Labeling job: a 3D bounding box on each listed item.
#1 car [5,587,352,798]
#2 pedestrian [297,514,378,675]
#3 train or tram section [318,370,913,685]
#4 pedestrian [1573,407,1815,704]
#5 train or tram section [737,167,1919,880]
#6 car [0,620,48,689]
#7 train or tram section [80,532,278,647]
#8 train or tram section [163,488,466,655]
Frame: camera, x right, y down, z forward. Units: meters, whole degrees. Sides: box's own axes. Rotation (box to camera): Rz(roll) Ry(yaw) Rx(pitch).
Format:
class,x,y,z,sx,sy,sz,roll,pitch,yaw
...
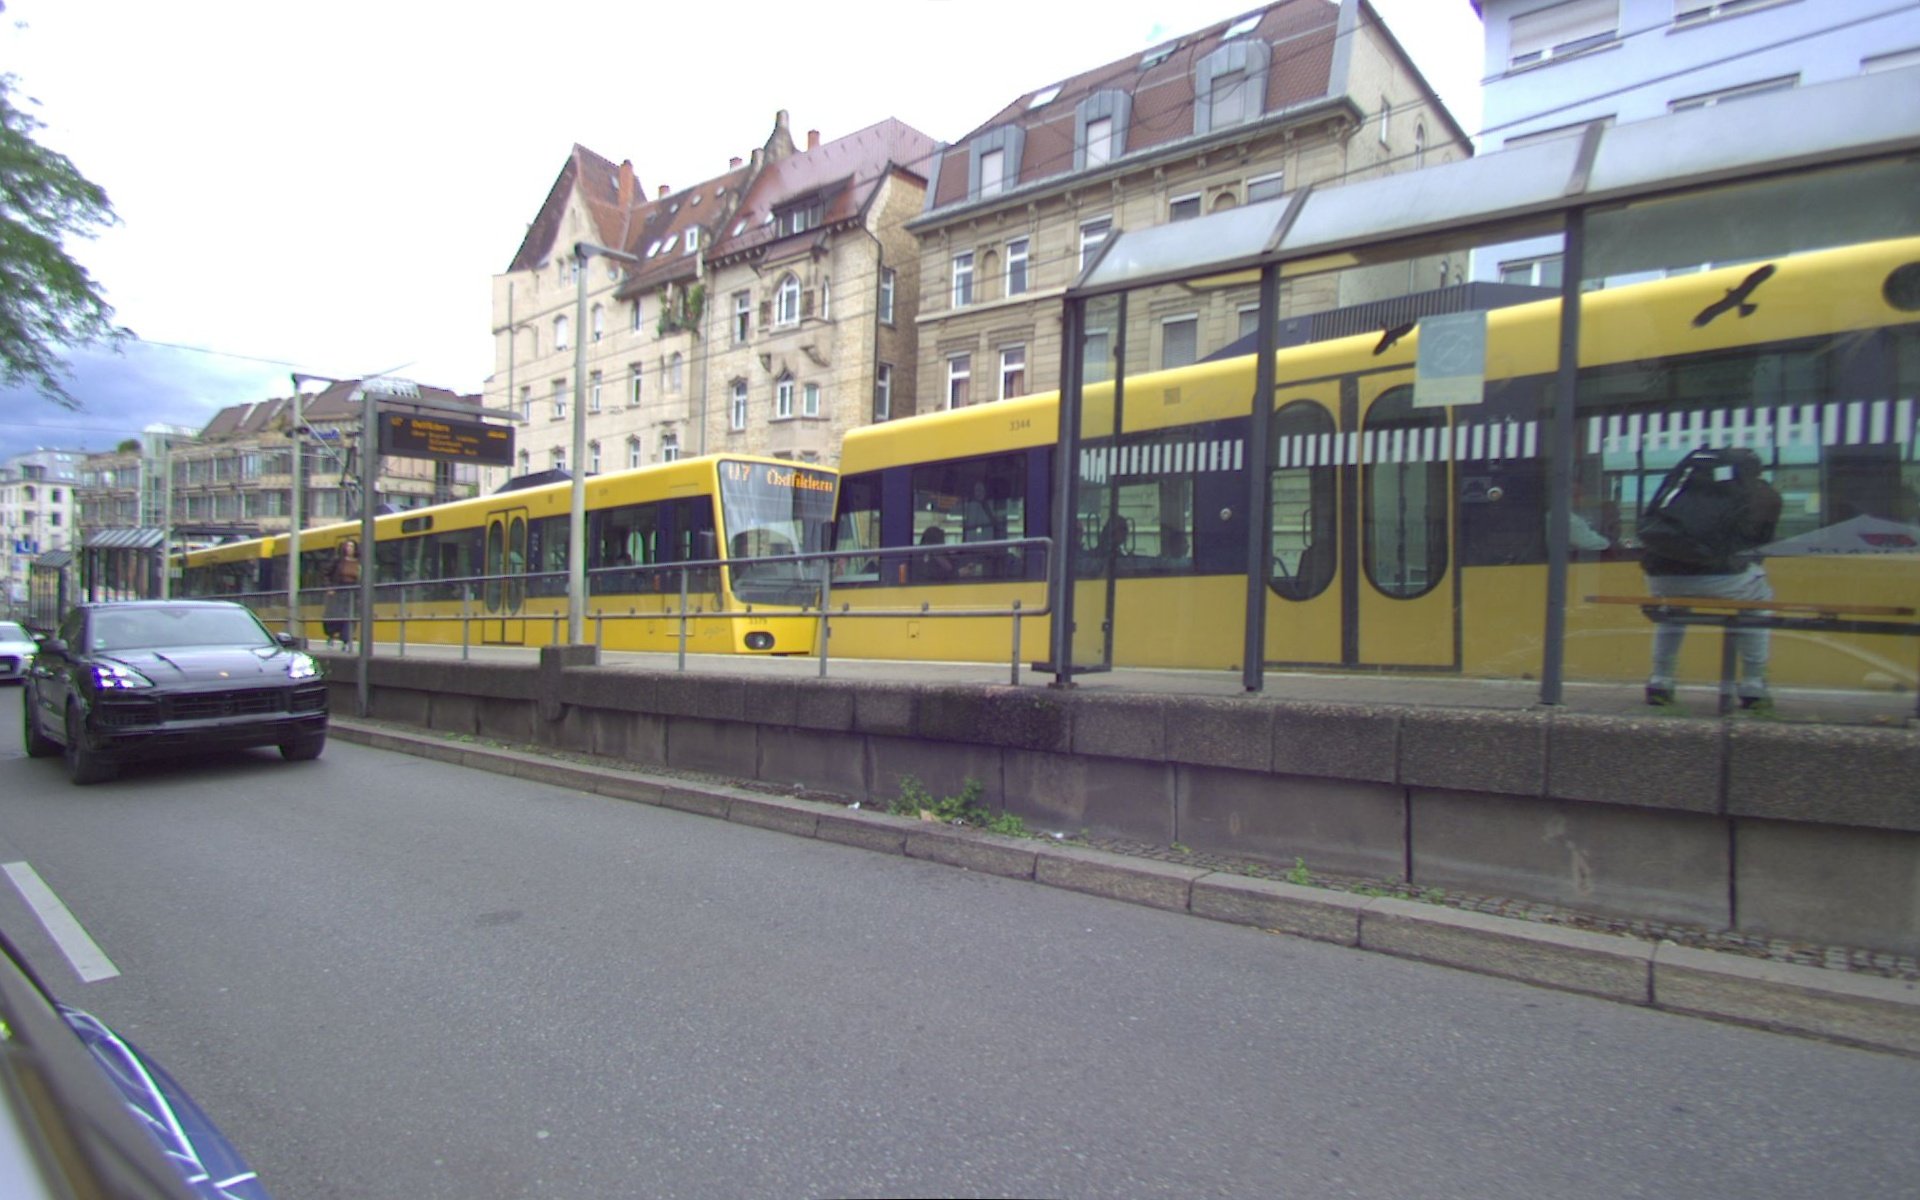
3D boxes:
class,x,y,z,sx,sy,sz,roll,pitch,yaw
car,-8.263,0.786,10.520,4.779,1.697,2.006,-1,-1,42
pedestrian,-9.249,-0.069,15.041,0.772,2.302,0.827,-2,-2,41
train or tram section,-6.960,-0.737,17.339,14.224,3.585,2.892,-1,1,41
pedestrian,3.263,-0.155,4.493,0.778,1.151,0.841,-1,-3,42
train or tram section,3.808,-0.232,8.056,14.218,3.692,2.852,-3,-5,40
car,-22.802,1.249,23.540,4.529,1.486,1.872,-1,-1,42
train or tram section,-28.235,-0.211,36.131,14.224,3.444,2.852,-1,1,41
train or tram section,-17.606,-0.502,26.750,14.224,3.467,2.852,-1,1,41
